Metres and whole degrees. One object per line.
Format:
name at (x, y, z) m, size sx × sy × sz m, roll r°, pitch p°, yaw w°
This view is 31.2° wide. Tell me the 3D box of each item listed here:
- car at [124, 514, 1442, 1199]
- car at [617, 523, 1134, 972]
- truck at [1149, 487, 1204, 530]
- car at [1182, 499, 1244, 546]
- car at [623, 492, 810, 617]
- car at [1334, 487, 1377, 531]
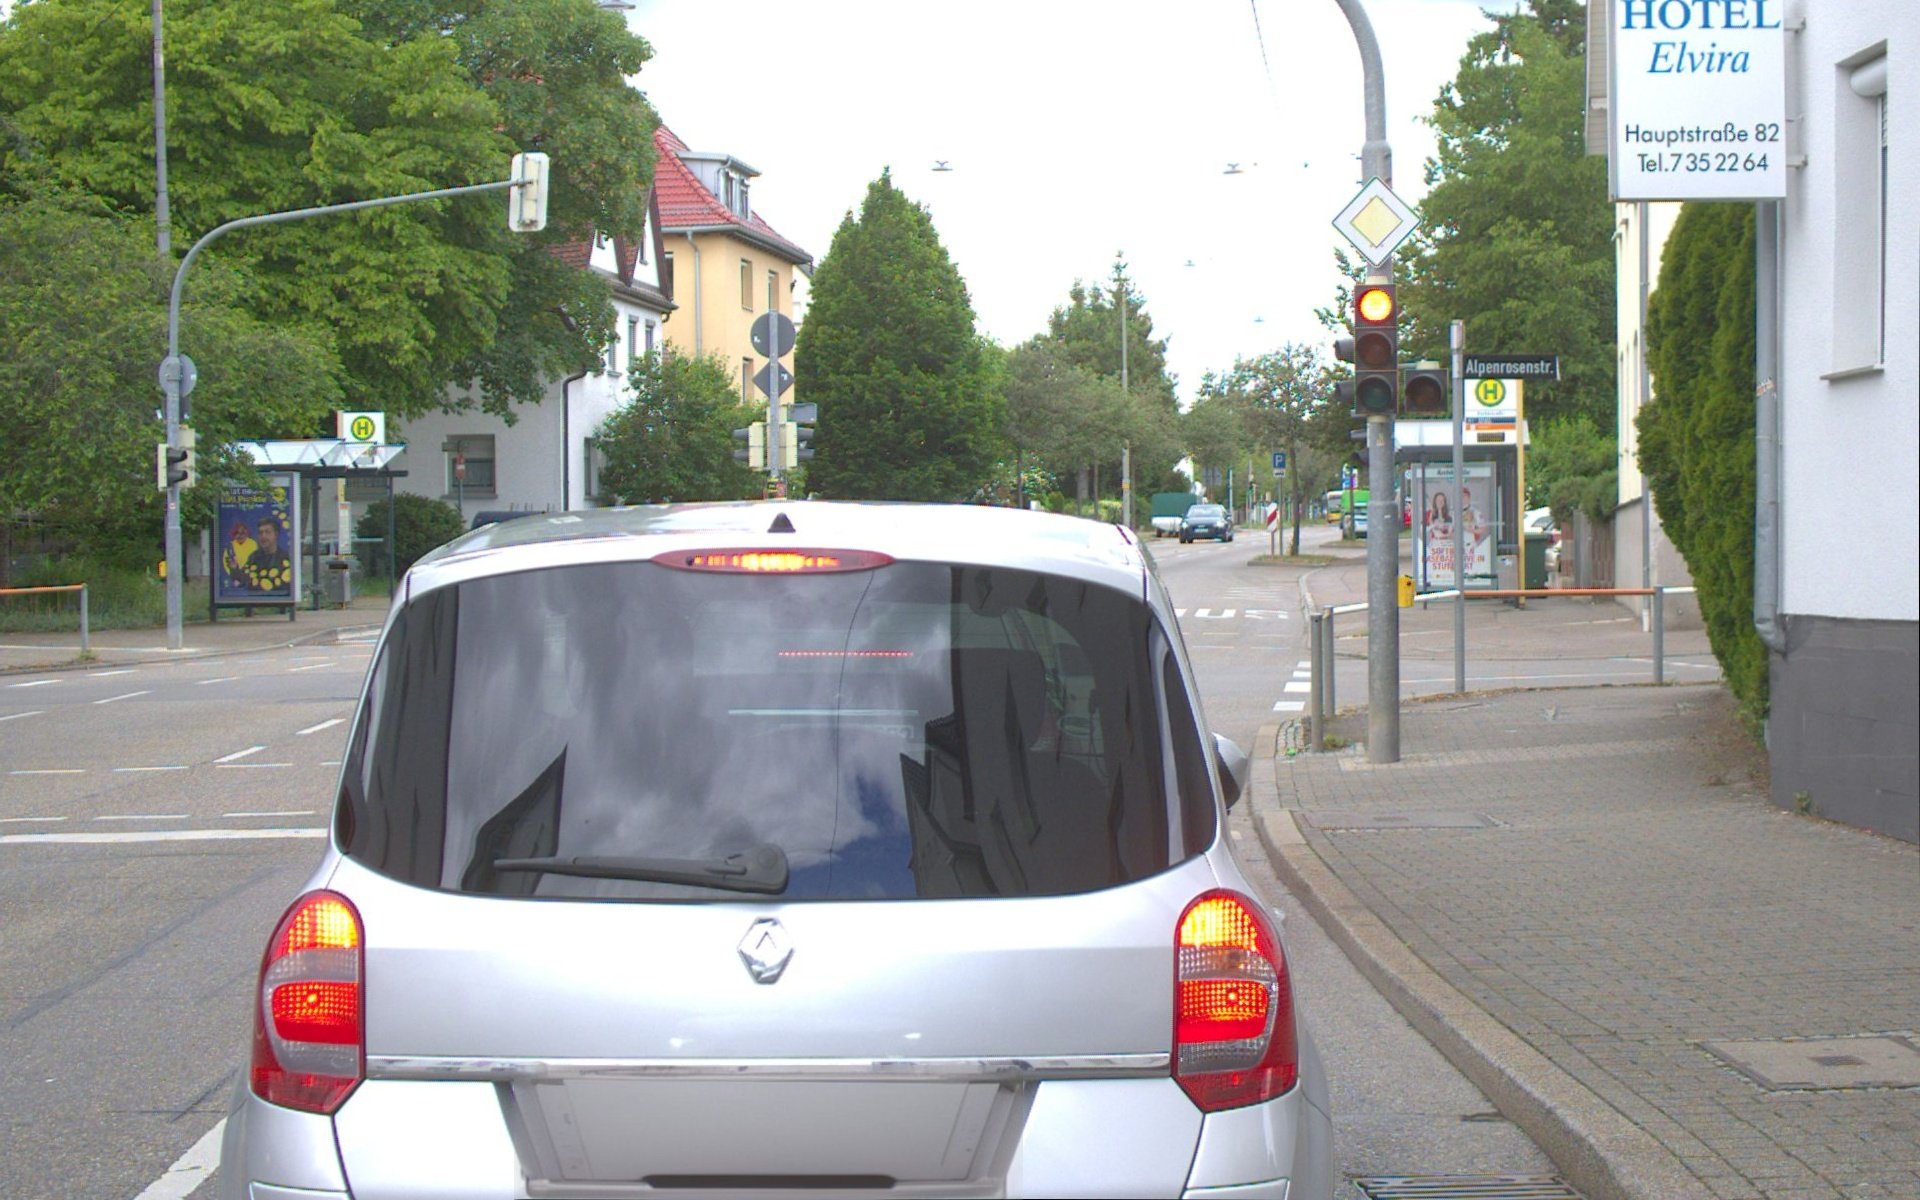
car at (-0.273, 0.623, 6.597) m, size 1.755 × 1.525 × 4.000 m, roll 0°, pitch 1°, yaw -1°
car at (-0.321, 0.477, 13.633) m, size 1.755 × 1.525 × 3.797 m, roll 0°, pitch 1°, yaw -1°
truck at (10.493, -4.422, 166.504) m, size 2.102 × 2.007 × 5.745 m, roll 1°, pitch 1°, yaw 9°
car at (9.541, -2.915, 129.446) m, size 1.858 × 1.742 × 3.998 m, roll 1°, pitch 1°, yaw 11°
car at (-3.786, -0.743, 54.190) m, size 1.927 × 1.767 × 3.999 m, roll -4°, pitch 1°, yaw 10°
car at (23.381, -5.365, 203.172) m, size 2.060 × 2.503 × 5.593 m, roll 1°, pitch 1°, yaw 11°
